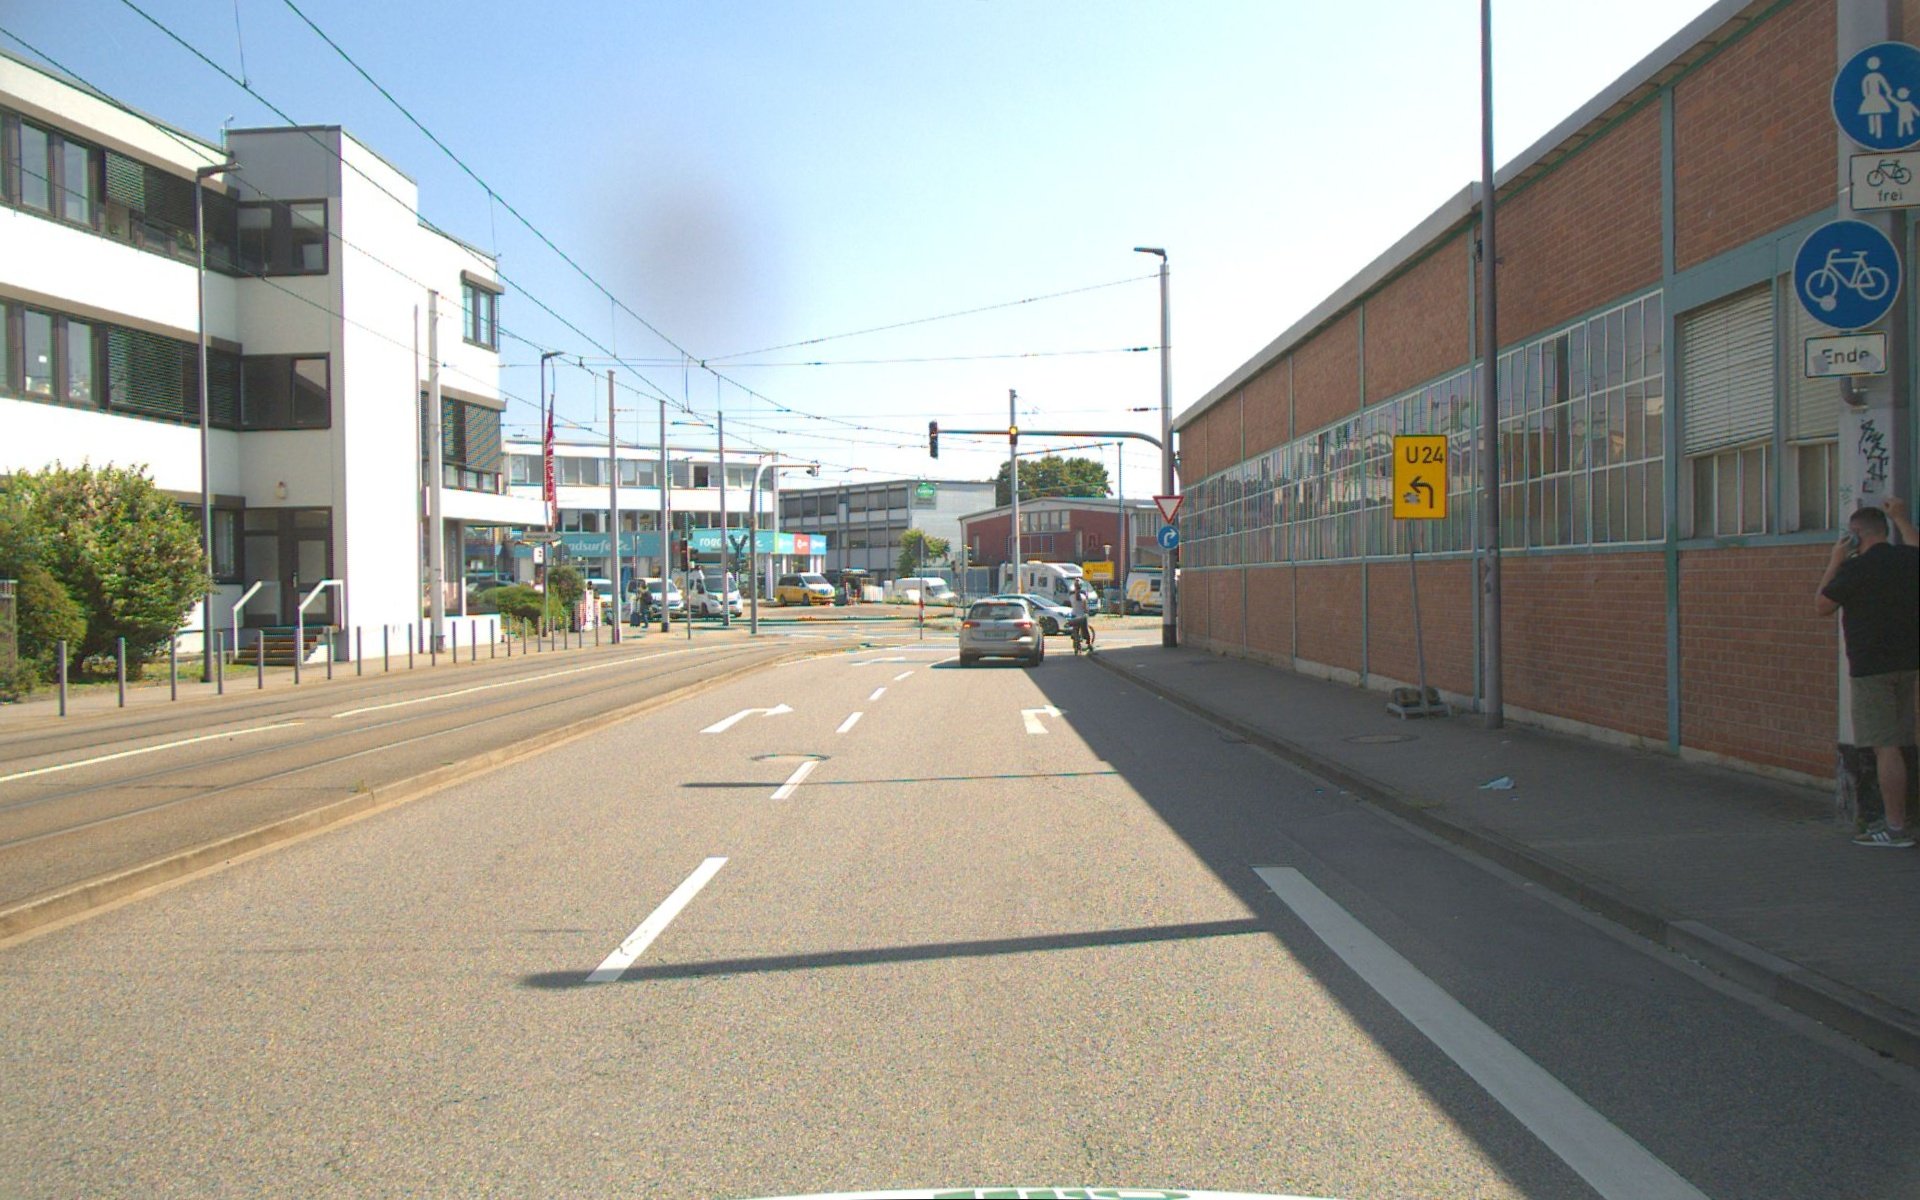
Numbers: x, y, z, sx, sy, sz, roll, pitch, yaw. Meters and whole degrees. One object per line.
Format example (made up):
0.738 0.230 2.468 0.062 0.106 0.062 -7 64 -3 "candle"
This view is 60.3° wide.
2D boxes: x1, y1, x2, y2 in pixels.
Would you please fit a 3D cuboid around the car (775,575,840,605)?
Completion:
-9.386 -0.616 101.308 1.920 1.790 5.065 -1 0 -32 "car"

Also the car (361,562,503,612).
-17.053 -0.412 53.574 3.903 1.590 2.001 0 0 3 "car"

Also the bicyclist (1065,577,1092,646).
3.195 0.302 44.594 0.693 1.842 0.983 0 0 3 "bicyclist"

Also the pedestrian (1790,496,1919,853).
4.770 0.363 8.652 0.673 1.795 0.447 1 3 38 "pedestrian"

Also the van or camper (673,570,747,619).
-13.287 -0.352 87.442 2.009 2.336 5.757 -2 3 -29 "van or camper"

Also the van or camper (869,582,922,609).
-4.967 -0.346 127.402 3.933 1.982 1.986 0 0 45 "van or camper"

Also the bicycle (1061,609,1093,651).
3.024 0.765 42.646 0.777 1.039 2.152 0 0 4 "bicycle"

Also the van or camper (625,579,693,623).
-15.663 -0.004 85.862 1.972 2.048 4.963 -2 3 -29 "van or camper"

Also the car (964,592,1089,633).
2.337 0.451 58.872 4.116 1.399 1.798 -1 0 33 "car"

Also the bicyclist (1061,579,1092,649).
2.990 0.348 42.350 0.769 1.752 1.147 0 0 4 "bicyclist"

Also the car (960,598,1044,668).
1.000 0.706 37.801 1.709 1.484 4.002 -1 0 4 "car"

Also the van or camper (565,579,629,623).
-18.843 0.014 85.731 1.972 2.048 4.717 -2 3 -29 "van or camper"

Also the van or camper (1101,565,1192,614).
10.725 -0.646 95.250 2.264 2.482 5.321 -2 4 -35 "van or camper"

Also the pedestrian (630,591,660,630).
-12.398 0.413 65.060 1.109 1.480 0.836 -1 0 -9 "pedestrian"

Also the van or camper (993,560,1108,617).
5.014 -0.713 92.874 2.333 2.981 6.883 -2 3 -41 "van or camper"

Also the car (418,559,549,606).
-16.469 -0.630 57.289 3.903 1.545 2.001 0 2 3 "car"
